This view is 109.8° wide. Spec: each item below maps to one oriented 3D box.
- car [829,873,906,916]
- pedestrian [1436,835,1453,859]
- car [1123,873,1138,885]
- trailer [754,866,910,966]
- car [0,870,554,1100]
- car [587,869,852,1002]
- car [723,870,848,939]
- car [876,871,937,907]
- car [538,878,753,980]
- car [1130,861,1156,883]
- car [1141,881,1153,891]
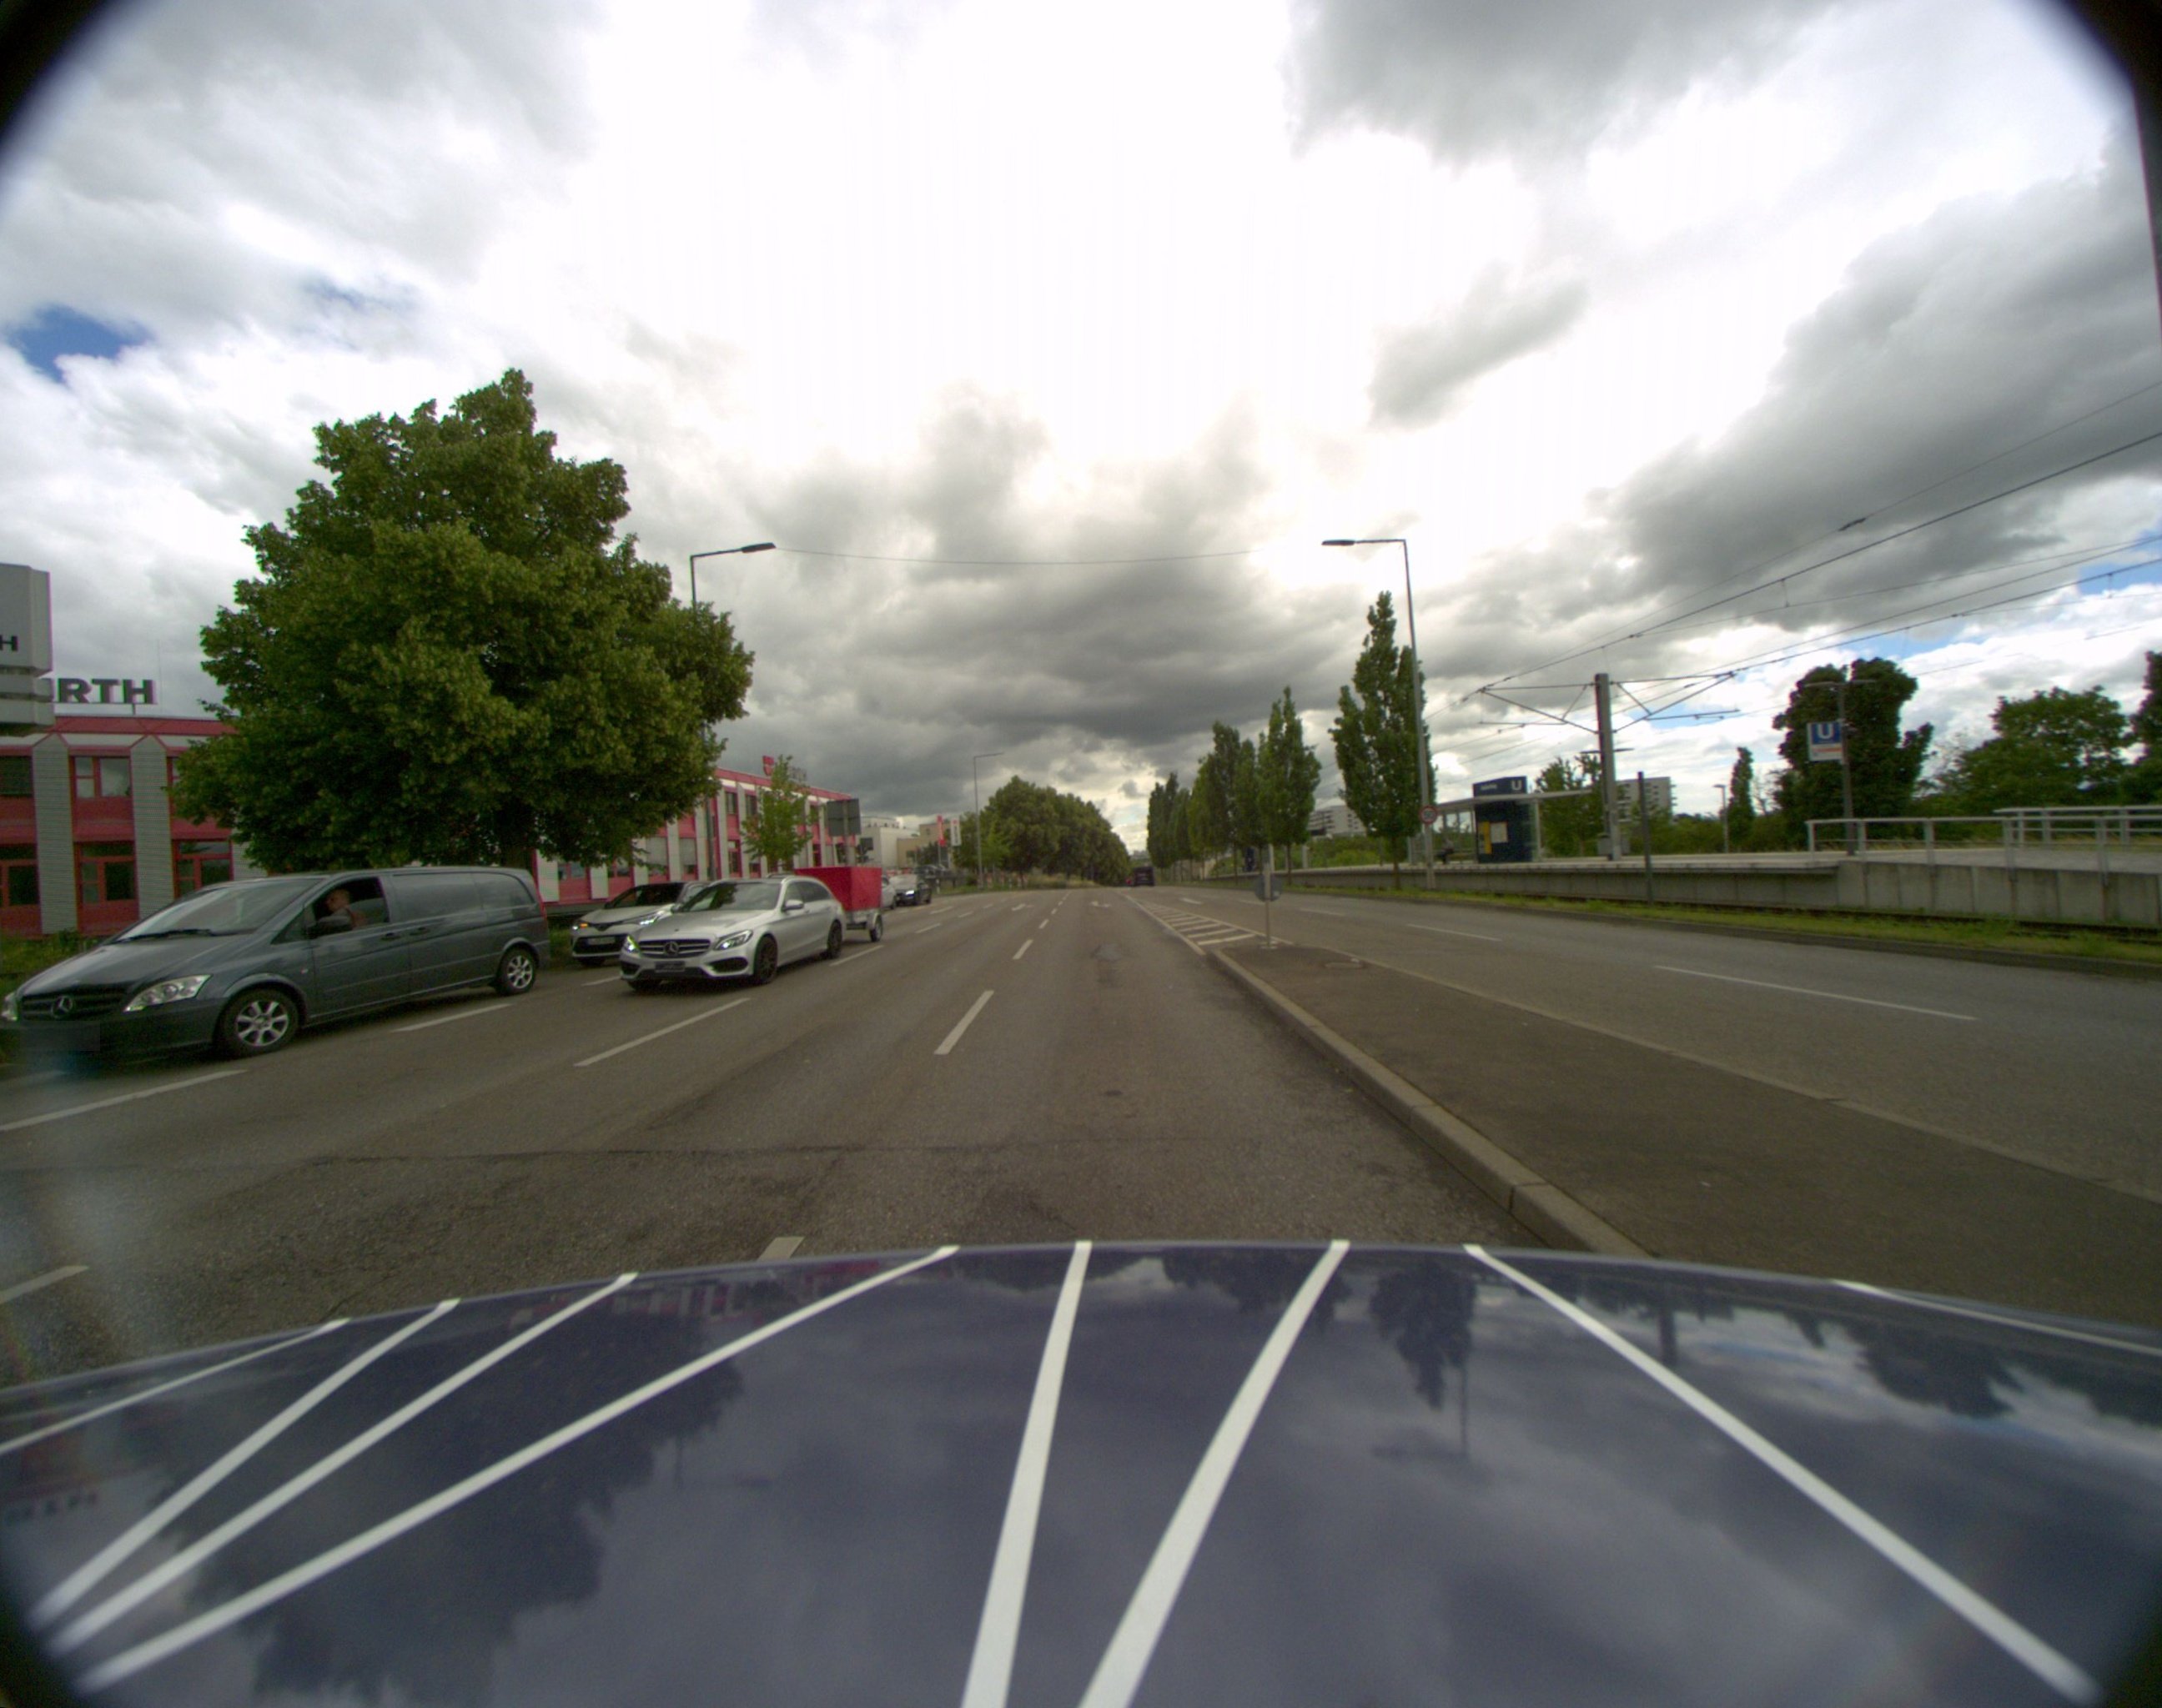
[{"bbox_3d":[-8.442,1.561,30.428,1.763,1.431,4.370,-3,0,0],"label":"car"},{"bbox_3d":[17.576,-0.340,36.741,0.601,1.148,0.447,-2,1,1],"label":"pedestrian"},{"bbox_3d":[6.941,3.486,106.775,1.740,1.499,3.660,-2,0,1],"label":"car"},{"bbox_3d":[-4.965,1.161,15.795,1.775,1.650,3.996,-2,1,1],"label":"trailer"},{"bbox_3d":[-8.761,1.189,8.829,1.763,1.764,4.675,-5,0,2],"label":"car"},{"bbox_3d":[-5.127,1.048,11.581,1.775,1.442,4.401,-2,1,1],"label":"car"},{"bbox_3d":[-8.440,1.380,22.161,1.865,1.648,4.209,-4,-1,1],"label":"car"},{"bbox_3d":[-8.066,1.573,35.479,1.763,1.431,4.370,-3,0,0],"label":"car"},{"bbox_3d":[-8.589,1.389,15.487,1.844,1.507,4.106,-6,0,1],"label":"car"},{"bbox_3d":[5.563,1.582,68.561,1.892,1.802,5.093,-2,-1,1],"label":"car"},{"bbox_3d":[11.375,5.511,131.032,1.760,1.519,3.601,-2,1,2],"label":"car"}]
